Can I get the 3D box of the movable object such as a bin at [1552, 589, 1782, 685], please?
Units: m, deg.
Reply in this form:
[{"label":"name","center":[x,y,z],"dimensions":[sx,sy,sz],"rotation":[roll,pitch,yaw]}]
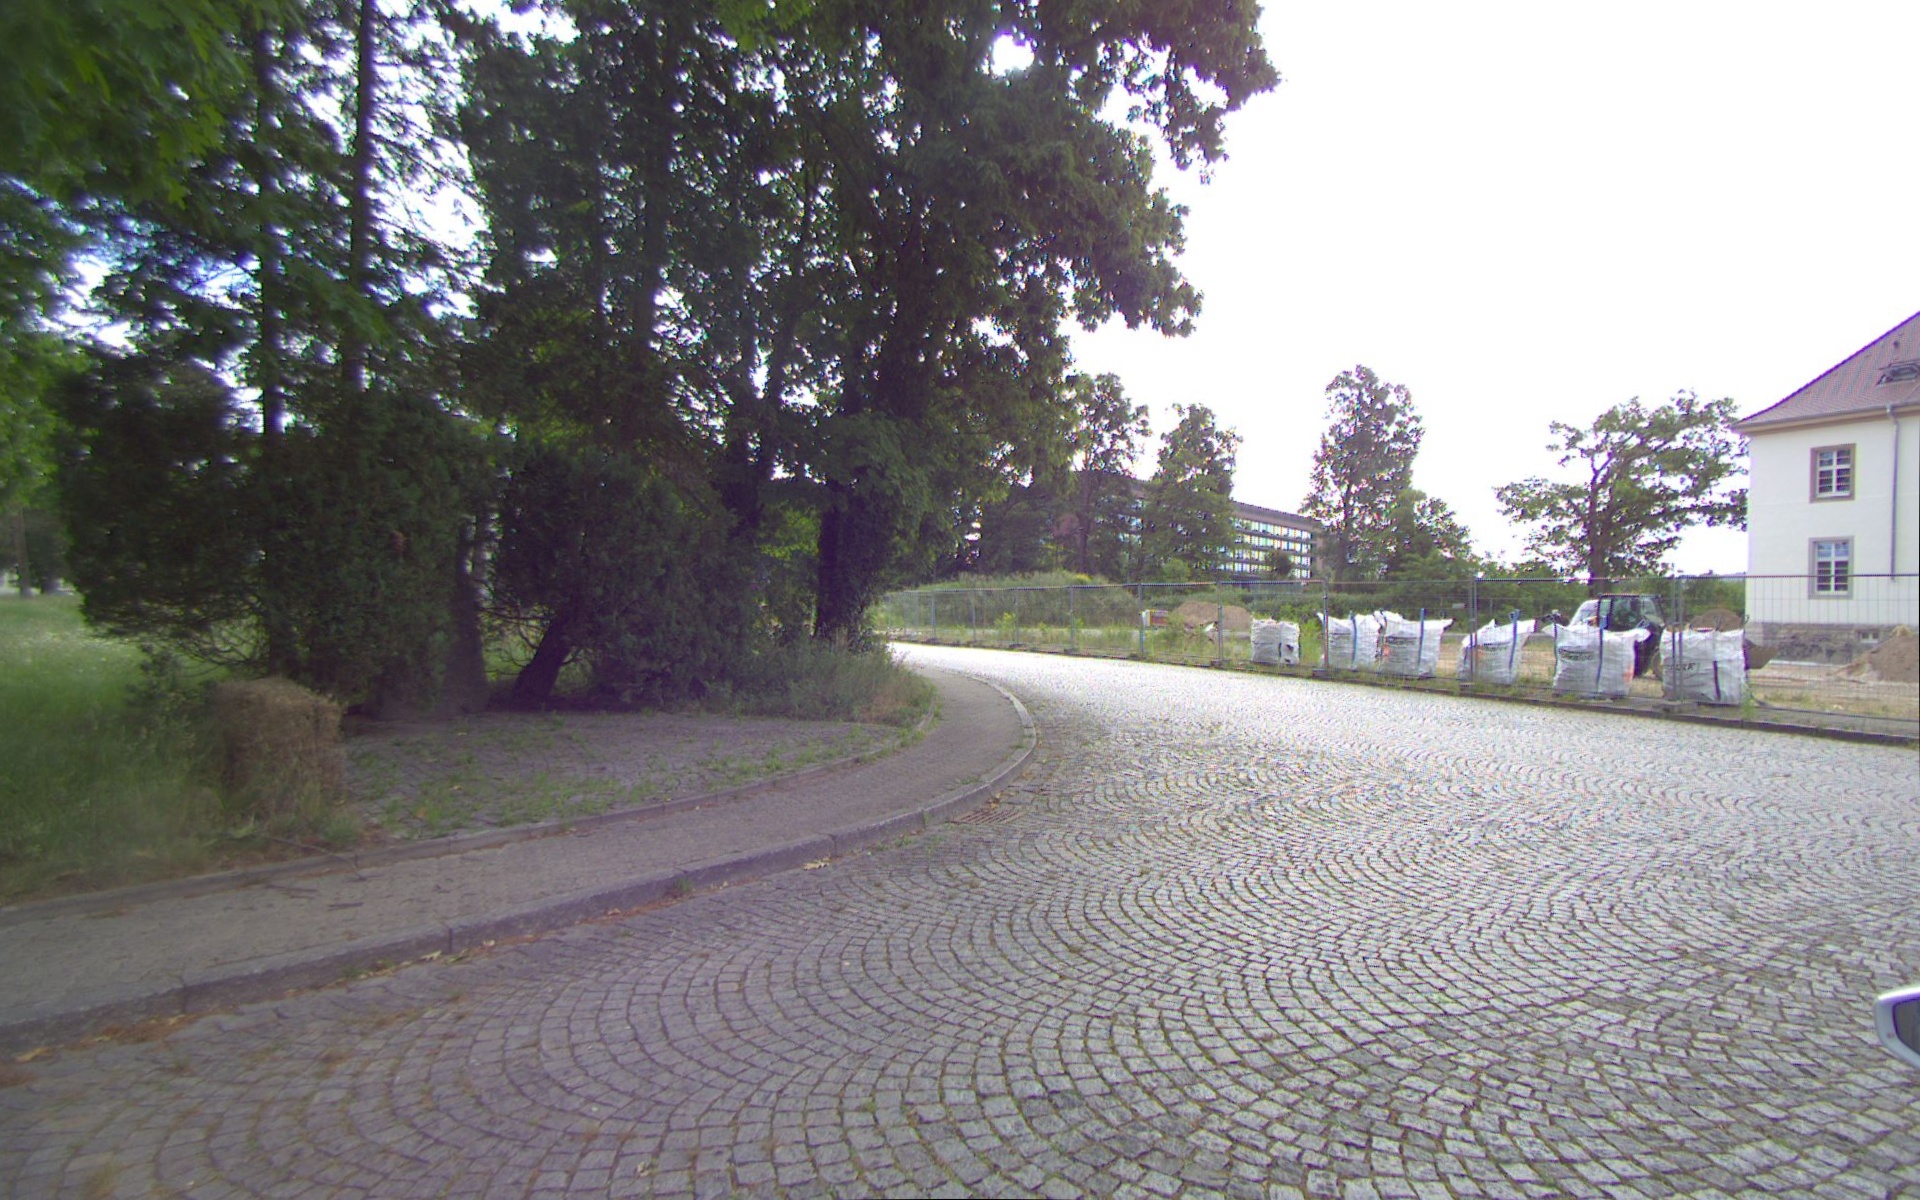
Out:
[{"label":"movable object such as a bin","center":[20.865,1.001,29.965],"dimensions":[1.974,2.590,5.310],"rotation":[1,0,-26]}]
